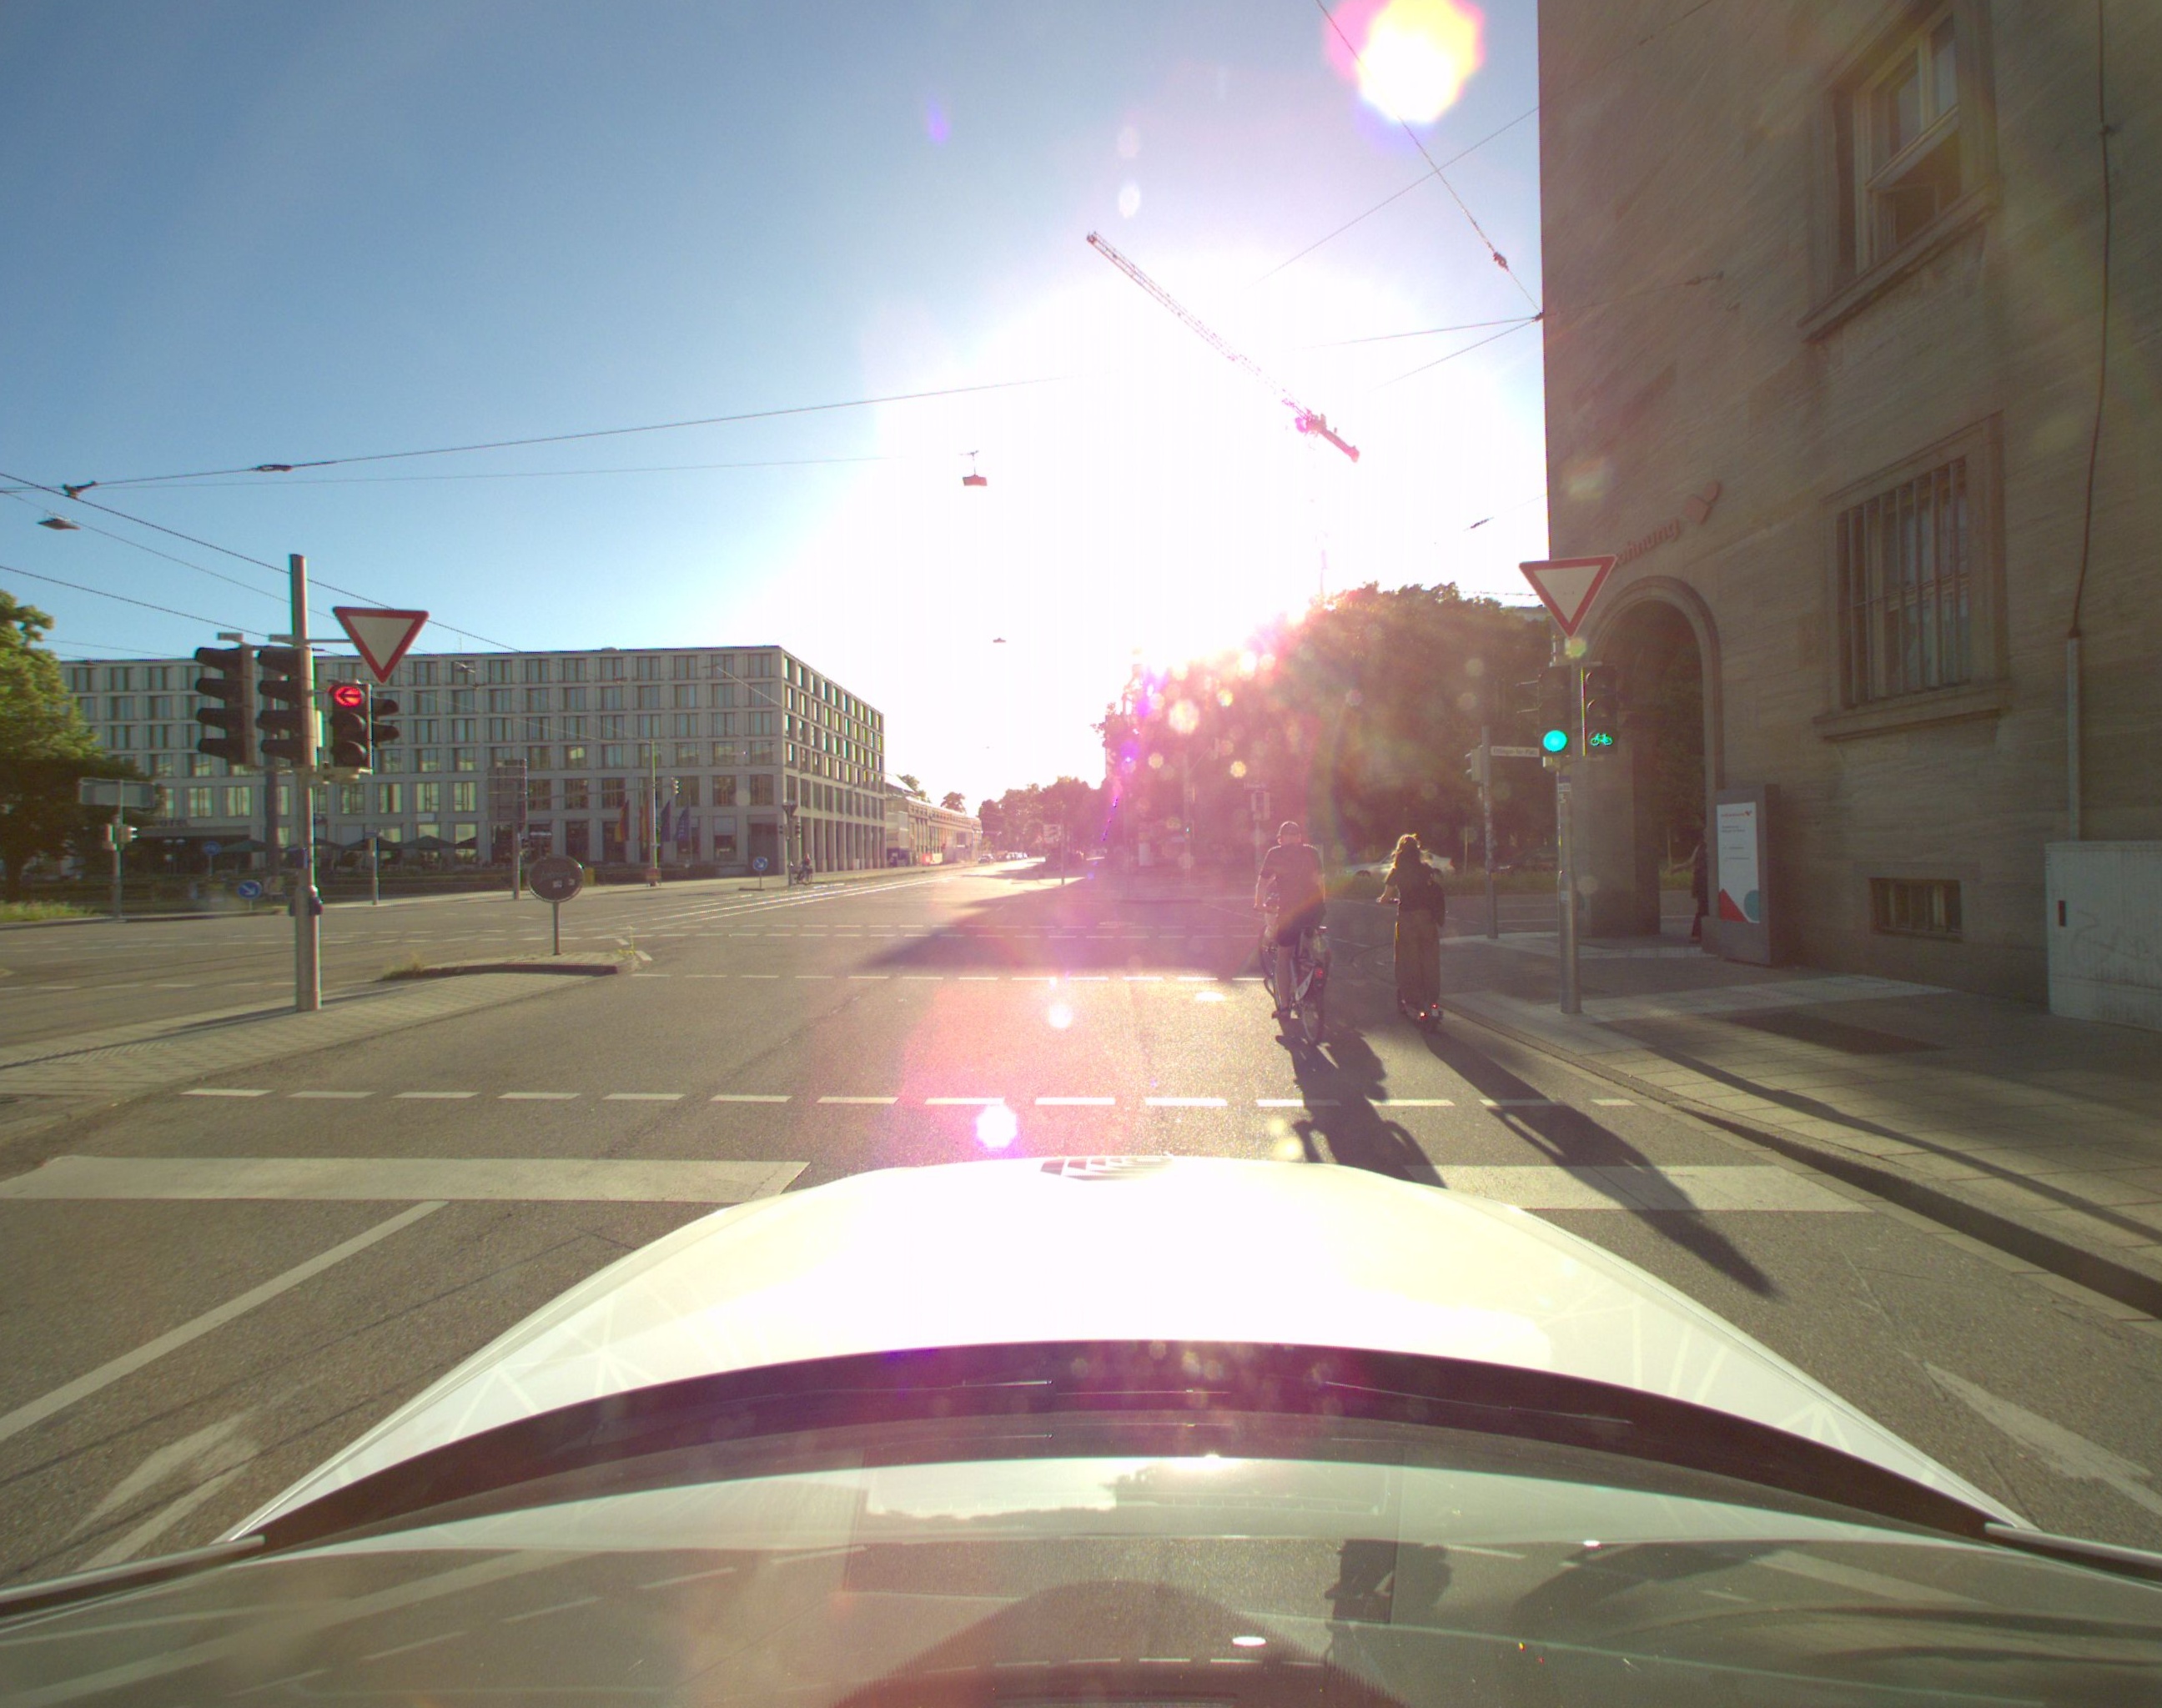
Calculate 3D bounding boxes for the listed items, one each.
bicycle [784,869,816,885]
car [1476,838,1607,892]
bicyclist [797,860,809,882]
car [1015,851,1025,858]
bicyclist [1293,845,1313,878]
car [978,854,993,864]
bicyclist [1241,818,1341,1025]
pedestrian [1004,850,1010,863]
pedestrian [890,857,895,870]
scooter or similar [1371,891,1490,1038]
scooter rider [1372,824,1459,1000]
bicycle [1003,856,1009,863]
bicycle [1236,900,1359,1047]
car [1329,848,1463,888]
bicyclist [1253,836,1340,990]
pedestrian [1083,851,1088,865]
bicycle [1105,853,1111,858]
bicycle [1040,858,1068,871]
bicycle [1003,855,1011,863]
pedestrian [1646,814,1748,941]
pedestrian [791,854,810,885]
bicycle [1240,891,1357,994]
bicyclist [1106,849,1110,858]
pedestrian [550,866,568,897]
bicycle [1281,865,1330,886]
[{"bbox_3d":[-14.940,1.226,43.260,1.696,0.823,0.577,-2,0,29],"label":"bicycle"},{"bbox_3d":[17.840,0.443,31.718,3.970,2.014,2.001,0,-1,3],"label":"car"},{"bbox_3d":[-19.228,1.162,56.357,0.492,1.498,0.667,-2,0,4],"label":"bicyclist"},{"bbox_3d":[-14.580,0.216,194.172,1.988,1.644,3.998,-2,0,-1],"label":"car"},{"bbox_3d":[9.576,0.345,35.154,0.742,1.406,0.703,0,-1,8],"label":"bicyclist"},{"bbox_3d":[-15.893,0.863,135.214,1.988,1.599,3.998,-2,0,-1],"label":"car"},{"bbox_3d":[1.850,0.563,7.278,0.621,1.715,0.913,-2,0,1],"label":"bicyclist"},{"bbox_3d":[-12.259,0.395,135.572,0.746,2.063,1.052,0,-1,7],"label":"pedestrian"},{"bbox_3d":[-26.980,1.402,116.685,0.584,1.889,0.479,0,-1,10],"label":"pedestrian"},{"bbox_3d":[3.086,0.931,7.311,0.570,1.149,1.273,0,0,3],"label":"scooter or similar"},{"bbox_3d":[3.099,0.517,7.577,0.543,1.562,0.577,-1,-1,0],"label":"scooter rider"},{"bbox_3d":[-13.081,0.965,141.694,0.748,1.205,3.108,0,-1,1],"label":"bicycle"},{"bbox_3d":[1.865,0.983,7.260,0.621,1.044,1.747,-2,0,1],"label":"bicycle"},{"bbox_3d":[12.392,0.532,32.274,4.559,1.516,2.001,0,-1,1],"label":"car"},{"bbox_3d":[2.561,0.669,9.758,0.584,1.738,0.945,-1,0,-14],"label":"bicyclist"},{"bbox_3d":[0.545,0.451,96.566,0.576,1.689,0.584,-2,0,-6],"label":"pedestrian"},{"bbox_3d":[6.533,0.328,199.348,0.890,1.219,2.784,0,-1,-9],"label":"bicycle"},{"bbox_3d":[-2.167,0.849,66.278,2.240,0.940,0.653,-2,0,-4],"label":"bicycle"},{"bbox_3d":[-12.270,0.821,135.501,0.746,1.205,3.114,0,-1,7],"label":"bicycle"},{"bbox_3d":[8.309,0.325,11.024,0.594,1.607,0.813,-5,-3,1],"label":"pedestrian"},{"bbox_3d":[-14.918,0.835,43.246,0.735,1.595,0.577,-2,-1,29],"label":"pedestrian"},{"bbox_3d":[2.562,1.006,9.800,0.583,1.044,1.739,-1,0,-13],"label":"bicycle"},{"bbox_3d":[6.523,-0.088,199.366,0.891,2.014,0.746,0,-1,-10],"label":"bicyclist"},{"bbox_3d":[-28.314,1.499,44.170,0.598,1.681,0.610,-2,-1,36],"label":"pedestrian"},{"bbox_3d":[9.667,0.909,35.140,1.932,0.889,0.719,-1,-1,8],"label":"bicycle"}]
